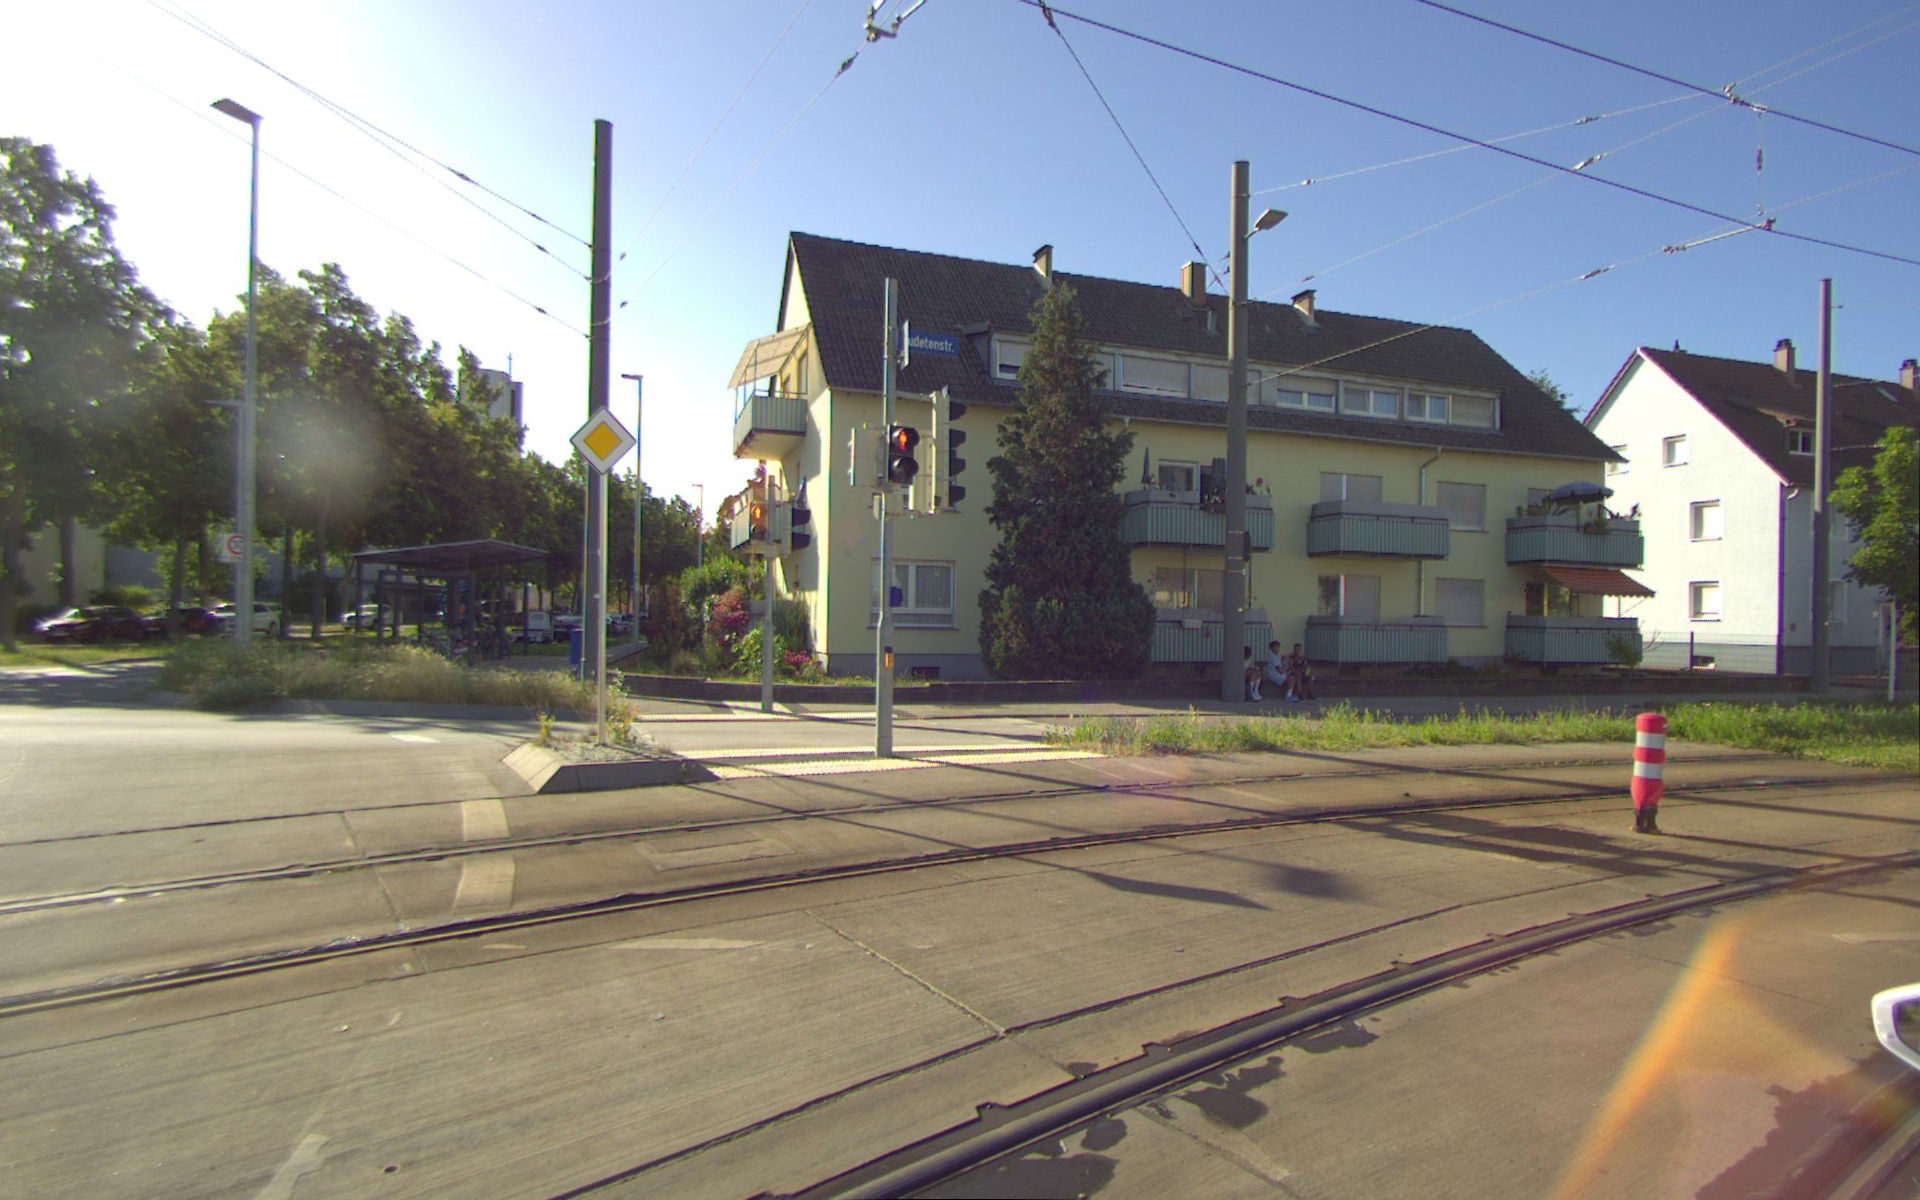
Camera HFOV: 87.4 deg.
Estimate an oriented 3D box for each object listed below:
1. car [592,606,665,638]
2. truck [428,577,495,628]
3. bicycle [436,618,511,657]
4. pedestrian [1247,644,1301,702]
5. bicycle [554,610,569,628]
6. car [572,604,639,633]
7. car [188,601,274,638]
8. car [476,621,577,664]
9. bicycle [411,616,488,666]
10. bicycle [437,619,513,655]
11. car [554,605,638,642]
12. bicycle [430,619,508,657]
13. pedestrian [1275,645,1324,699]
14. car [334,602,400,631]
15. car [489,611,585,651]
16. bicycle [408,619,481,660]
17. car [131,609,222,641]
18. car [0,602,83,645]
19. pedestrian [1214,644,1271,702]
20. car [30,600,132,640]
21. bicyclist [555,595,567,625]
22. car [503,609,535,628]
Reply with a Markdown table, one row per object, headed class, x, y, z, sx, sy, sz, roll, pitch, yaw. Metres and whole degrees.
| class | x | y | z | sx | sy | sz | roll | pitch | yaw |
| --- | --- | --- | --- | --- | --- | --- | --- | --- | --- |
| car | -17.892 | 1.200 | 54.361 | 3.466 | 1.553 | 1.574 | 3 | -1 | -11 |
| truck | -42.440 | 0.255 | 85.850 | 3.026 | 4.046 | 7.990 | 3 | -1 | -12 |
| bicycle | -14.177 | 1.102 | 29.291 | 1.816 | 1.041 | 0.687 | 3 | -1 | -15 |
| pedestrian | 6.197 | 1.430 | 19.821 | 0.807 | 1.078 | 0.624 | 2 | -2 | 39 |
| bicycle | -23.665 | 1.150 | 59.657 | 0.757 | 1.050 | 1.528 | 2 | -2 | -19 |
| car | -20.825 | 1.093 | 59.182 | 3.466 | 1.553 | 1.452 | 3 | -1 | -11 |
| car | -37.649 | 1.015 | 52.006 | 1.965 | 1.722 | 4.209 | 3 | -1 | -12 |
| car | -17.732 | 1.733 | 41.227 | 3.466 | 1.553 | 1.574 | 3 | -1 | -11 |
| bicycle | -13.499 | 1.078 | 26.586 | 1.643 | 1.223 | 0.687 | 3 | -1 | -15 |
| bicycle | -14.943 | 1.141 | 31.002 | 1.947 | 1.041 | 0.687 | 3 | -1 | -15 |
| car | -17.371 | 1.125 | 48.074 | 3.466 | 1.553 | 1.574 | 3 | -1 | -11 |
| bicycle | -14.688 | 1.129 | 30.088 | 1.947 | 1.041 | 0.694 | 3 | -1 | -15 |
| pedestrian | 6.799 | 1.441 | 20.124 | 0.591 | 1.019 | 0.715 | 4 | -2 | -42 |
| car | -40.200 | 1.145 | 68.192 | 1.963 | 1.796 | 5.054 | 3 | -1 | -8 |
| car | -18.063 | 1.320 | 43.018 | 3.466 | 1.553 | 1.574 | 3 | -1 | -11 |
| bicycle | -14.206 | 1.091 | 27.725 | 1.667 | 1.041 | 0.597 | 3 | -1 | -15 |
| car | -36.746 | 1.143 | 47.230 | 1.936 | 1.341 | 3.987 | 3 | -1 | -16 |
| car | -32.369 | 0.780 | 34.647 | 1.574 | 1.382 | 3.987 | 3 | -1 | -16 |
| pedestrian | 5.457 | 1.403 | 19.431 | 0.678 | 1.060 | 0.816 | 2 | -1 | -21 |
| car | -35.872 | 0.823 | 41.118 | 1.778 | 1.484 | 3.785 | 3 | -1 | -19 |
| bicyclist | -23.668 | 0.604 | 59.581 | 0.595 | 1.736 | 0.542 | 1 | -4 | -19 |
| car | -42.920 | 1.761 | 97.819 | 1.965 | 1.722 | 4.209 | 3 | -1 | -12 |
